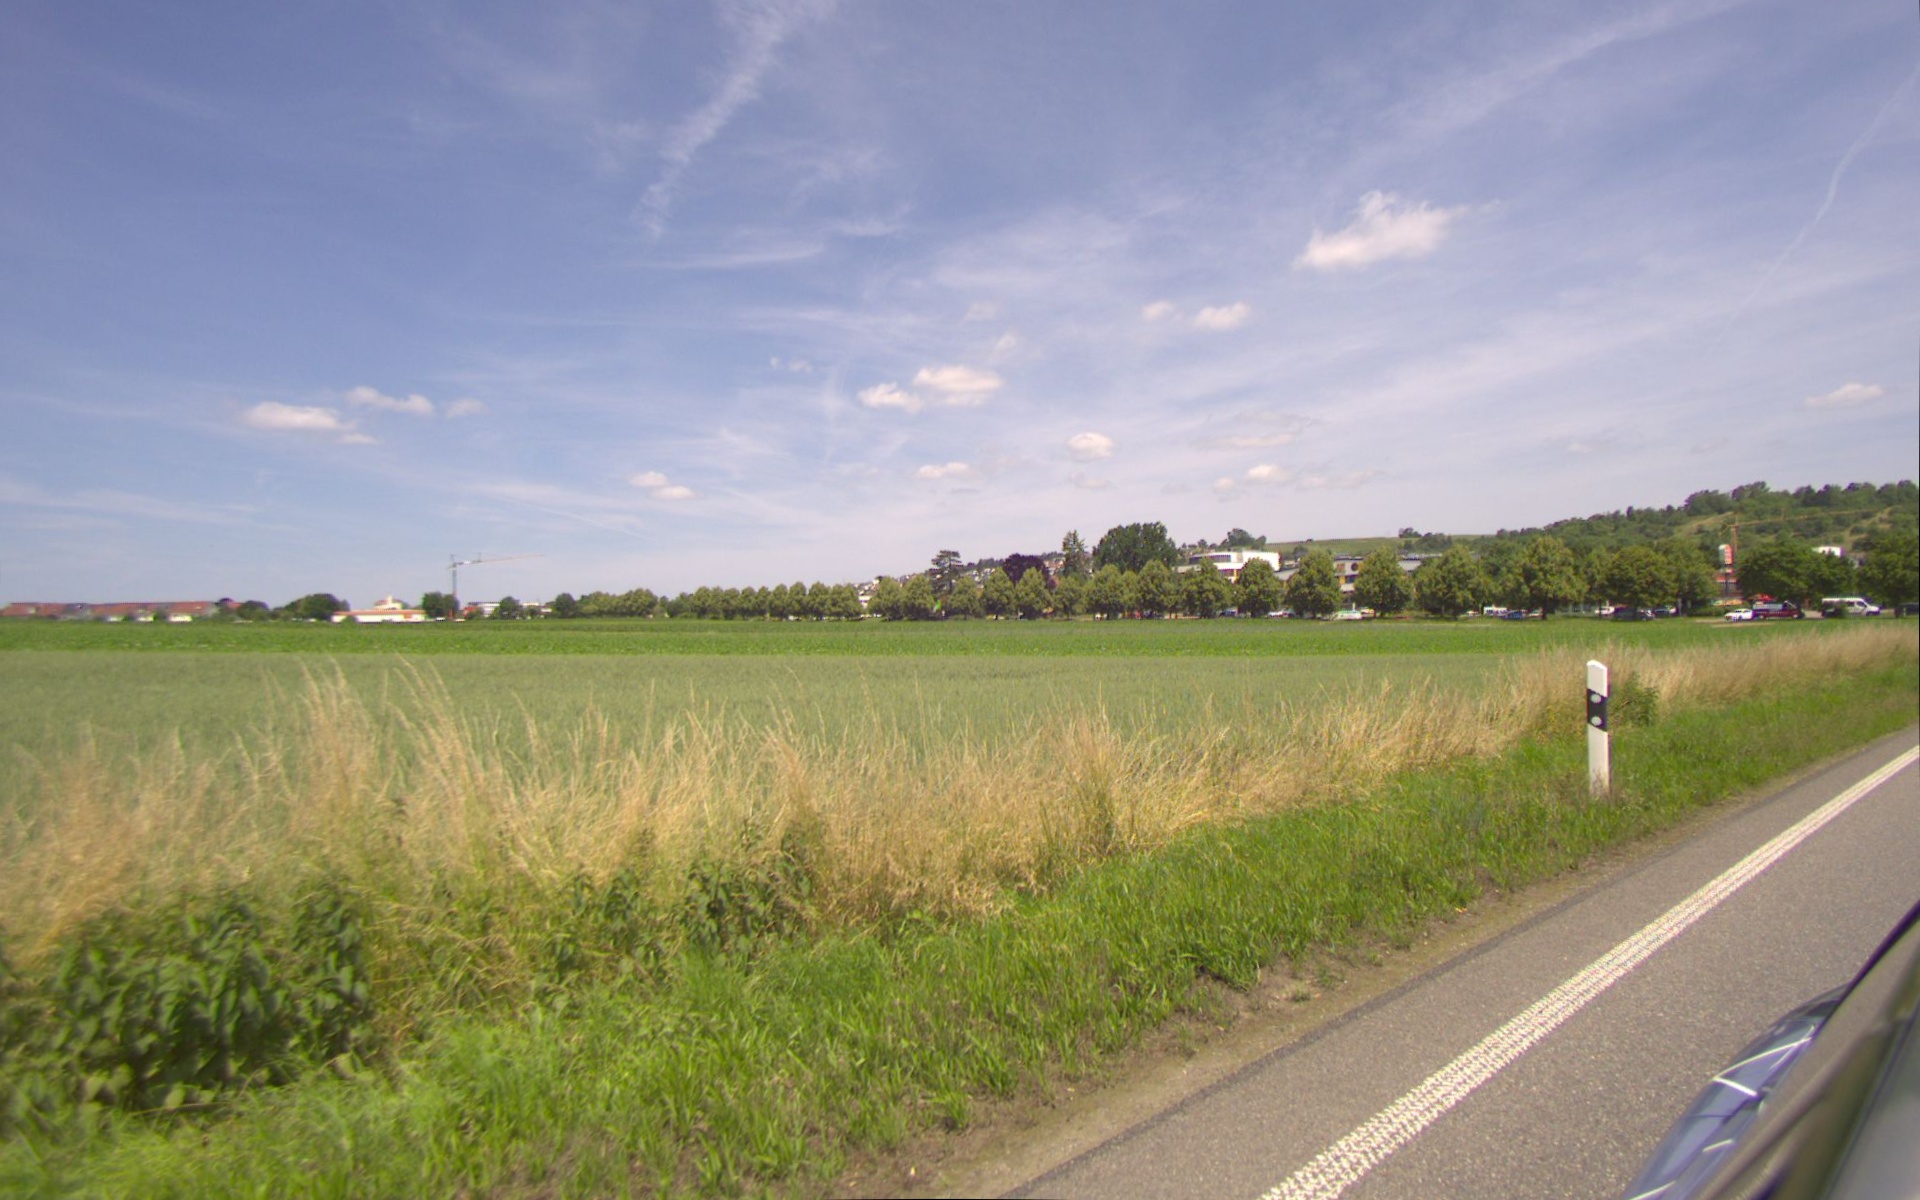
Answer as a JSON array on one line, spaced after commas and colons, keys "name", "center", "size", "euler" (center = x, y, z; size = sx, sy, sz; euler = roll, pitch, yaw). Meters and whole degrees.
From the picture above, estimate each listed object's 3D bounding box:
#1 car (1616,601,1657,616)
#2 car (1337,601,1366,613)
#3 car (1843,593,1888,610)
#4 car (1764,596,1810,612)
[{"name": "car", "center": [94.935, 1.143, 142.037], "size": [1.857, 2.039, 4.458], "euler": [0, 0, -45]}, {"name": "car", "center": [69.843, 1.271, 180.707], "size": [1.856, 2.039, 4.461], "euler": [0, 0, -43]}, {"name": "car", "center": [110.855, 0.200, 123.888], "size": [1.857, 2.039, 3.988], "euler": [0, 0, -45]}, {"name": "car", "center": [105.867, 0.527, 129.517], "size": [4.455, 2.039, 1.859], "euler": [0, 0, 43]}]
